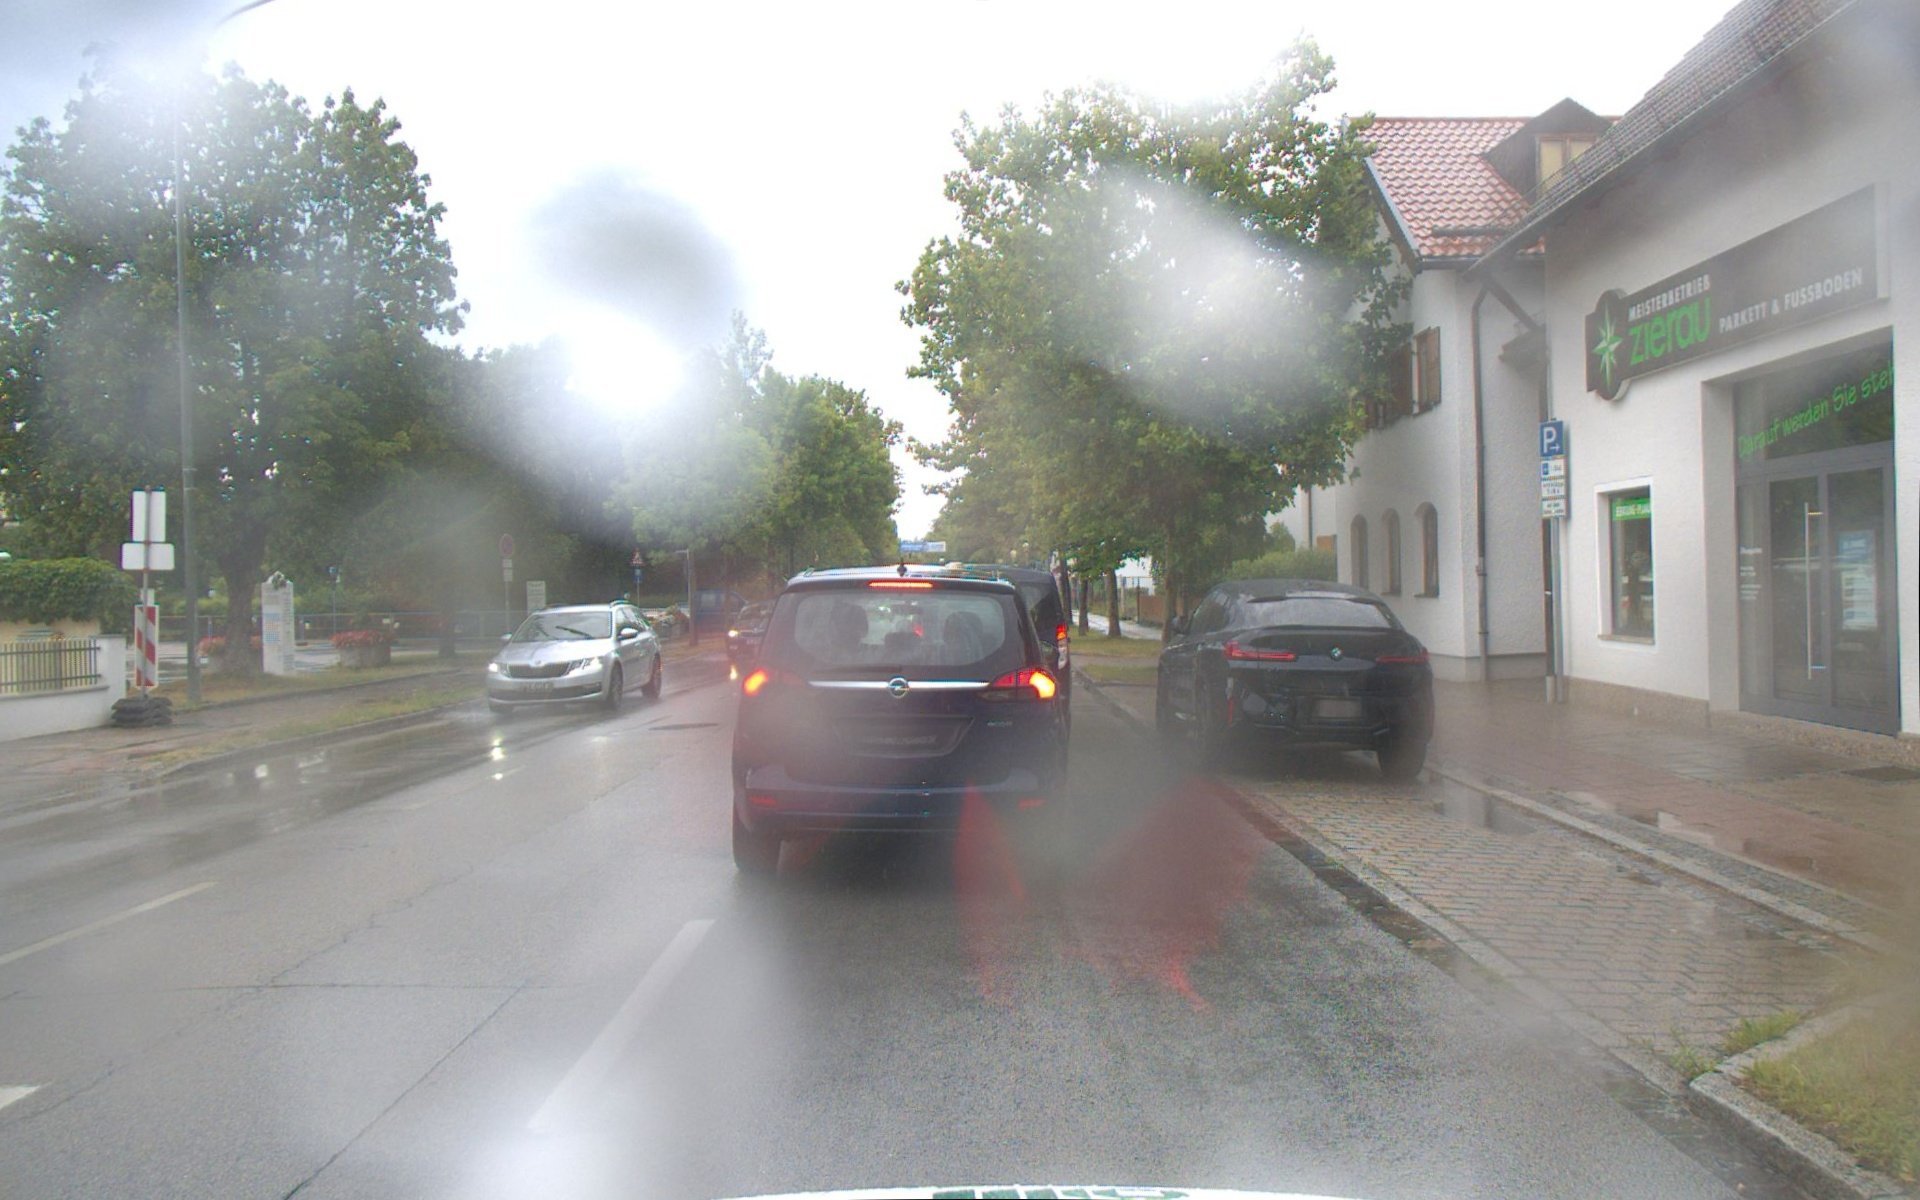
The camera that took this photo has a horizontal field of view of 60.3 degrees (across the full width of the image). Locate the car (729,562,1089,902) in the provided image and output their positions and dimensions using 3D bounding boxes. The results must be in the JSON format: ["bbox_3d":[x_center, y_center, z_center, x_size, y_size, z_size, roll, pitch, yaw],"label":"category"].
[{"bbox_3d":[-0.250,0.635,9.818,1.732,1.633,3.663,0,0,0],"label":"car"}]

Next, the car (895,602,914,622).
[{"bbox_3d":[-4.501,0.981,134.471,1.446,1.652,3.690,0,-1,-1],"label":"car"}]

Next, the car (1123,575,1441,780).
[{"bbox_3d":[2.731,0.620,14.992,2.074,1.609,3.935,0,0,-1],"label":"car"}]

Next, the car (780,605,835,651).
[{"bbox_3d":[-5.141,0.920,55.937,1.443,1.399,3.208,-3,0,1],"label":"car"}]

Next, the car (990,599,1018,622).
[{"bbox_3d":[2.739,0.668,103.472,1.597,1.402,3.622,0,-1,0],"label":"car"}]

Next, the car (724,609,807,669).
[{"bbox_3d":[-5.030,0.976,43.163,1.548,1.399,4.184,-3,0,1],"label":"car"}]

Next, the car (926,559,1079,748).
[{"bbox_3d":[0.403,0.512,17.392,1.469,1.807,3.111,0,0,0],"label":"car"}]

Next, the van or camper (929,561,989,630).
[{"bbox_3d":[-0.047,-0.180,69.308,2.312,2.712,5.371,-2,0,0],"label":"van or camper"}]

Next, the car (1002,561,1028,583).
[{"bbox_3d":[3.772,-1.910,113.183,1.597,1.402,3.622,-2,0,0],"label":"car"}]

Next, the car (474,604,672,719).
[{"bbox_3d":[-5.445,0.811,23.816,1.742,1.399,4.184,-3,0,1],"label":"car"}]
